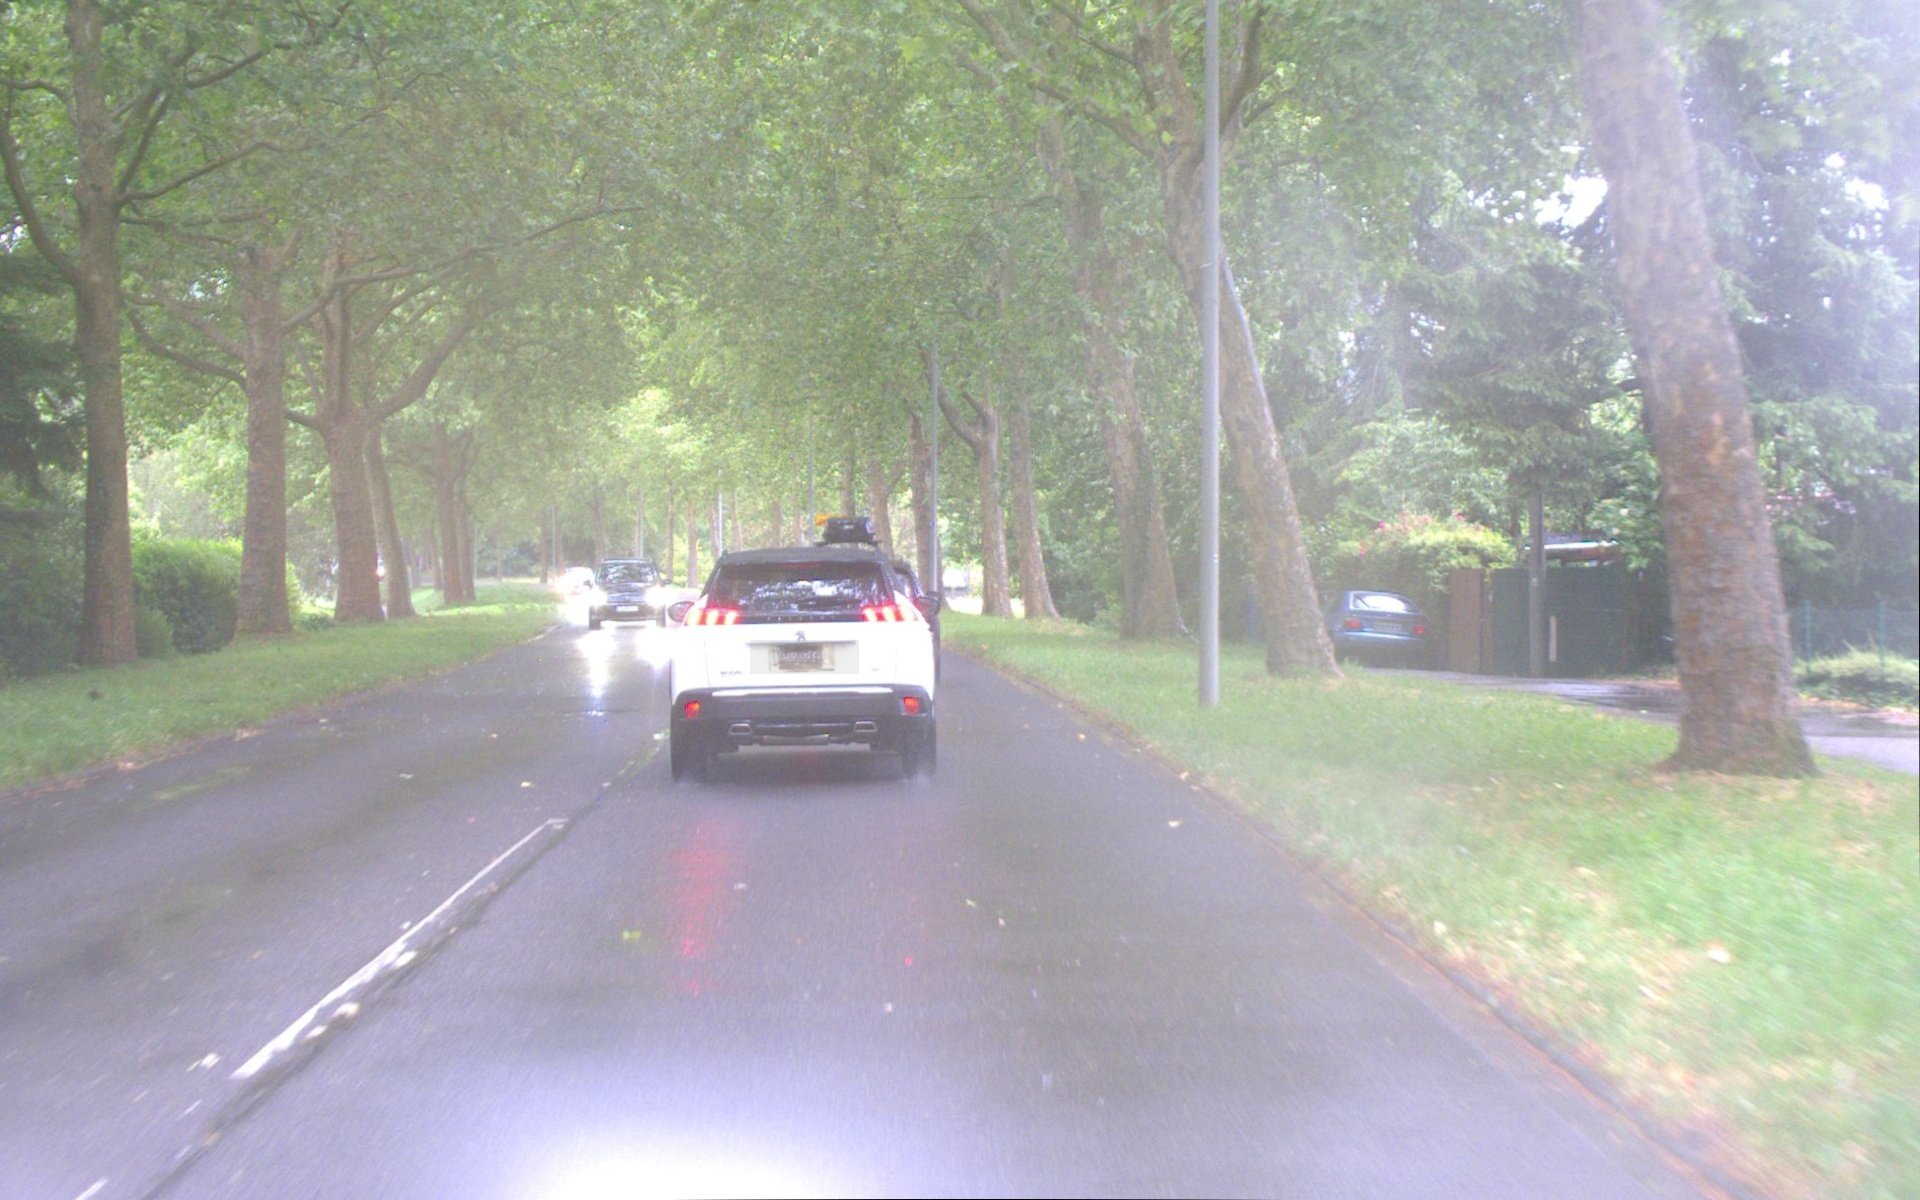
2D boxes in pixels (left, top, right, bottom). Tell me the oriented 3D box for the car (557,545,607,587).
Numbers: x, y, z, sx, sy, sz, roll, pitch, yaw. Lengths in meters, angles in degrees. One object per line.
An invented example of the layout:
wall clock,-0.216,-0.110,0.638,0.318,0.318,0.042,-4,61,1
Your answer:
car,-18.298,-1.663,166.619,1.993,2.007,4.000,0,1,0

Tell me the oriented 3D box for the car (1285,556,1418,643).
car,7.044,-0.030,62.239,1.905,1.505,3.931,0,1,-1

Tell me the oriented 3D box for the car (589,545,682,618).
car,-7.598,-0.440,80.853,1.873,1.671,3.708,0,1,-1

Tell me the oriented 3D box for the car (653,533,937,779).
car,-1.136,0.385,24.091,1.780,1.531,4.057,2,-1,-2
